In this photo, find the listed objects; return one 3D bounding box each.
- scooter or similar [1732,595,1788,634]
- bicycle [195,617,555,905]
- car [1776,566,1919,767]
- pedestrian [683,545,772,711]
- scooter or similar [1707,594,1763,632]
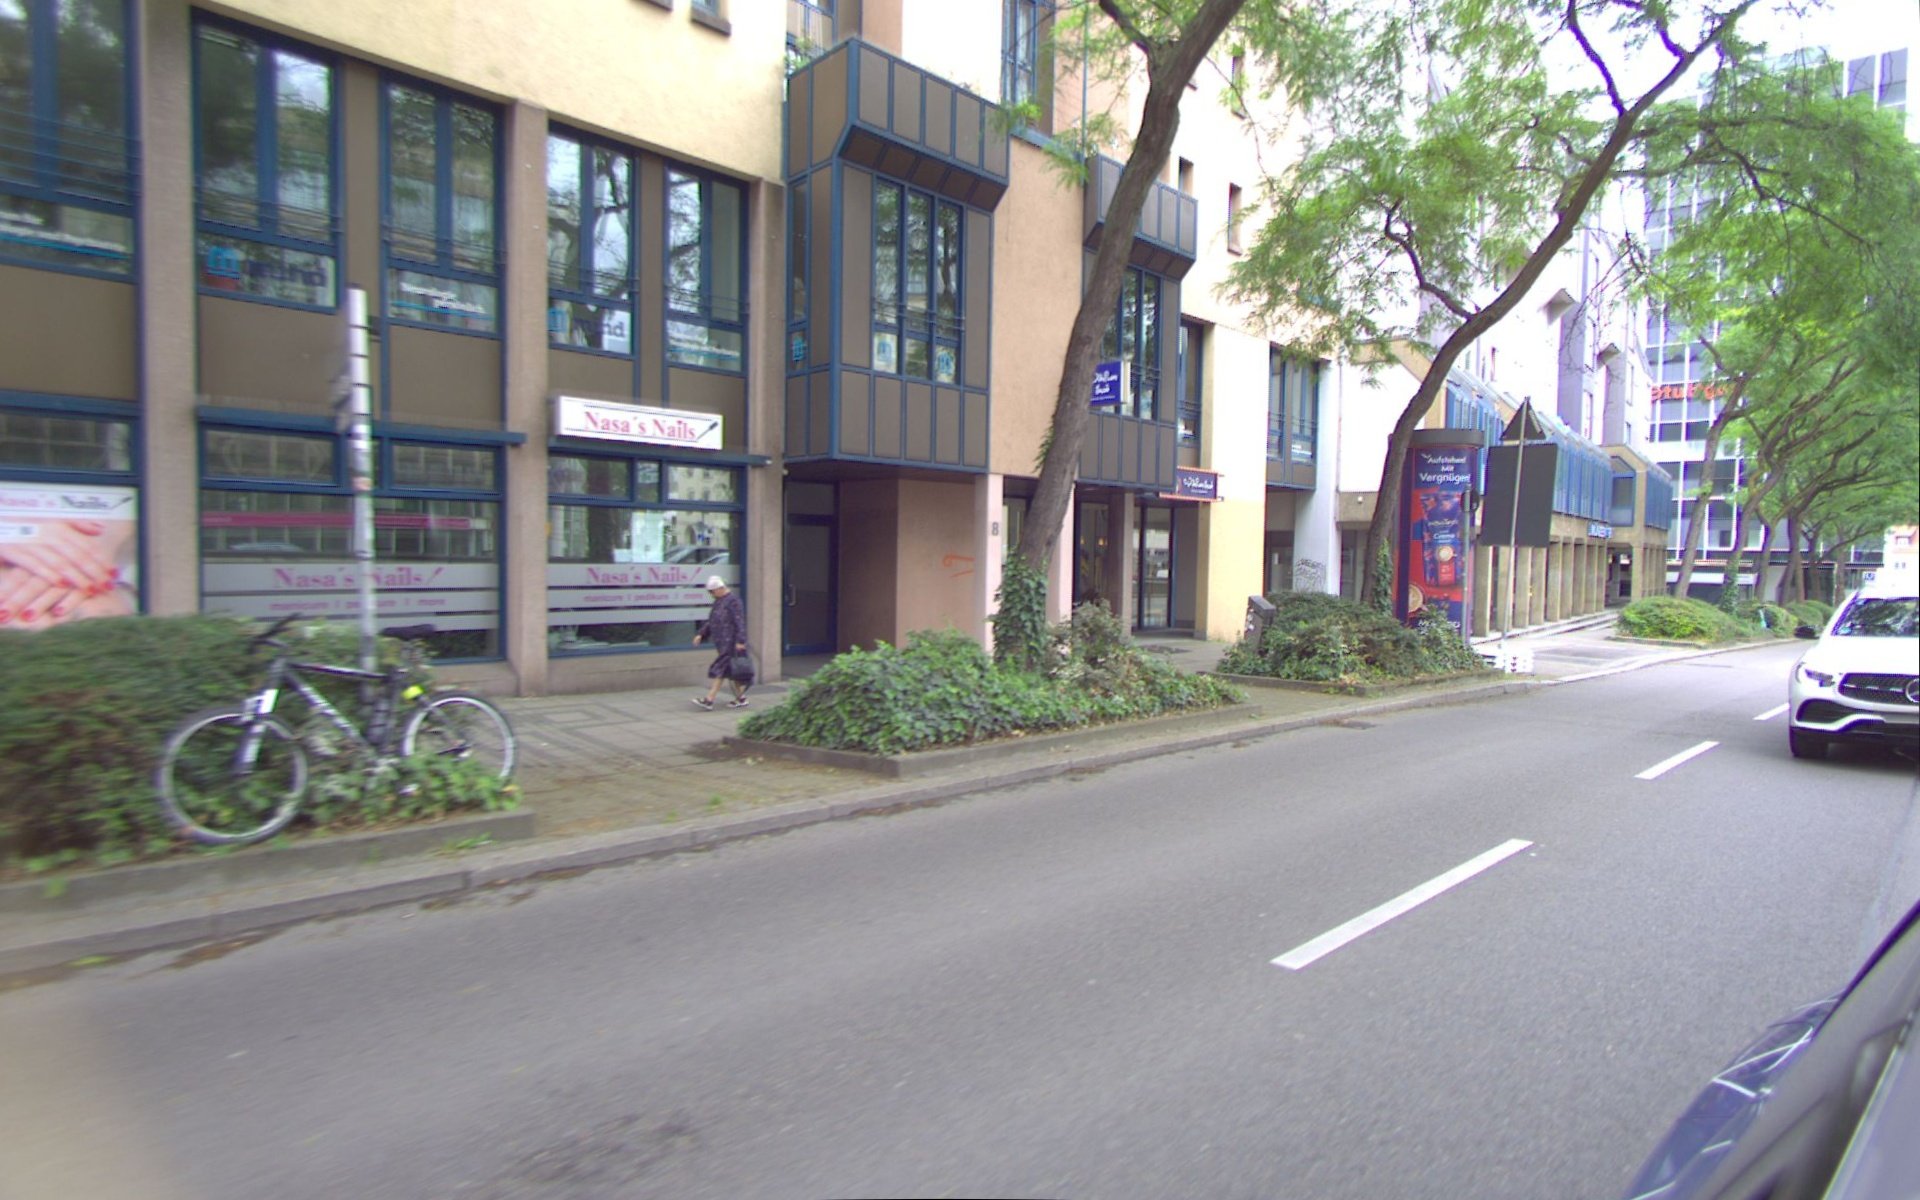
[{"bbox_3d":[30.199,0.544,38.224,1.512,1.452,0.685,1,0,17],"label":"scooter or similar"},{"bbox_3d":[-2.886,0.716,5.142,0.361,1.216,1.549,3,2,38],"label":"bicycle"},{"bbox_3d":[9.224,0.530,9.413,3.861,1.628,2.057,0,1,-43],"label":"car"},{"bbox_3d":[-2.544,0.289,11.066,0.675,1.732,0.711,2,0,-37],"label":"pedestrian"},{"bbox_3d":[30.410,0.512,39.732,1.575,1.452,0.729,1,0,17],"label":"scooter or similar"}]
